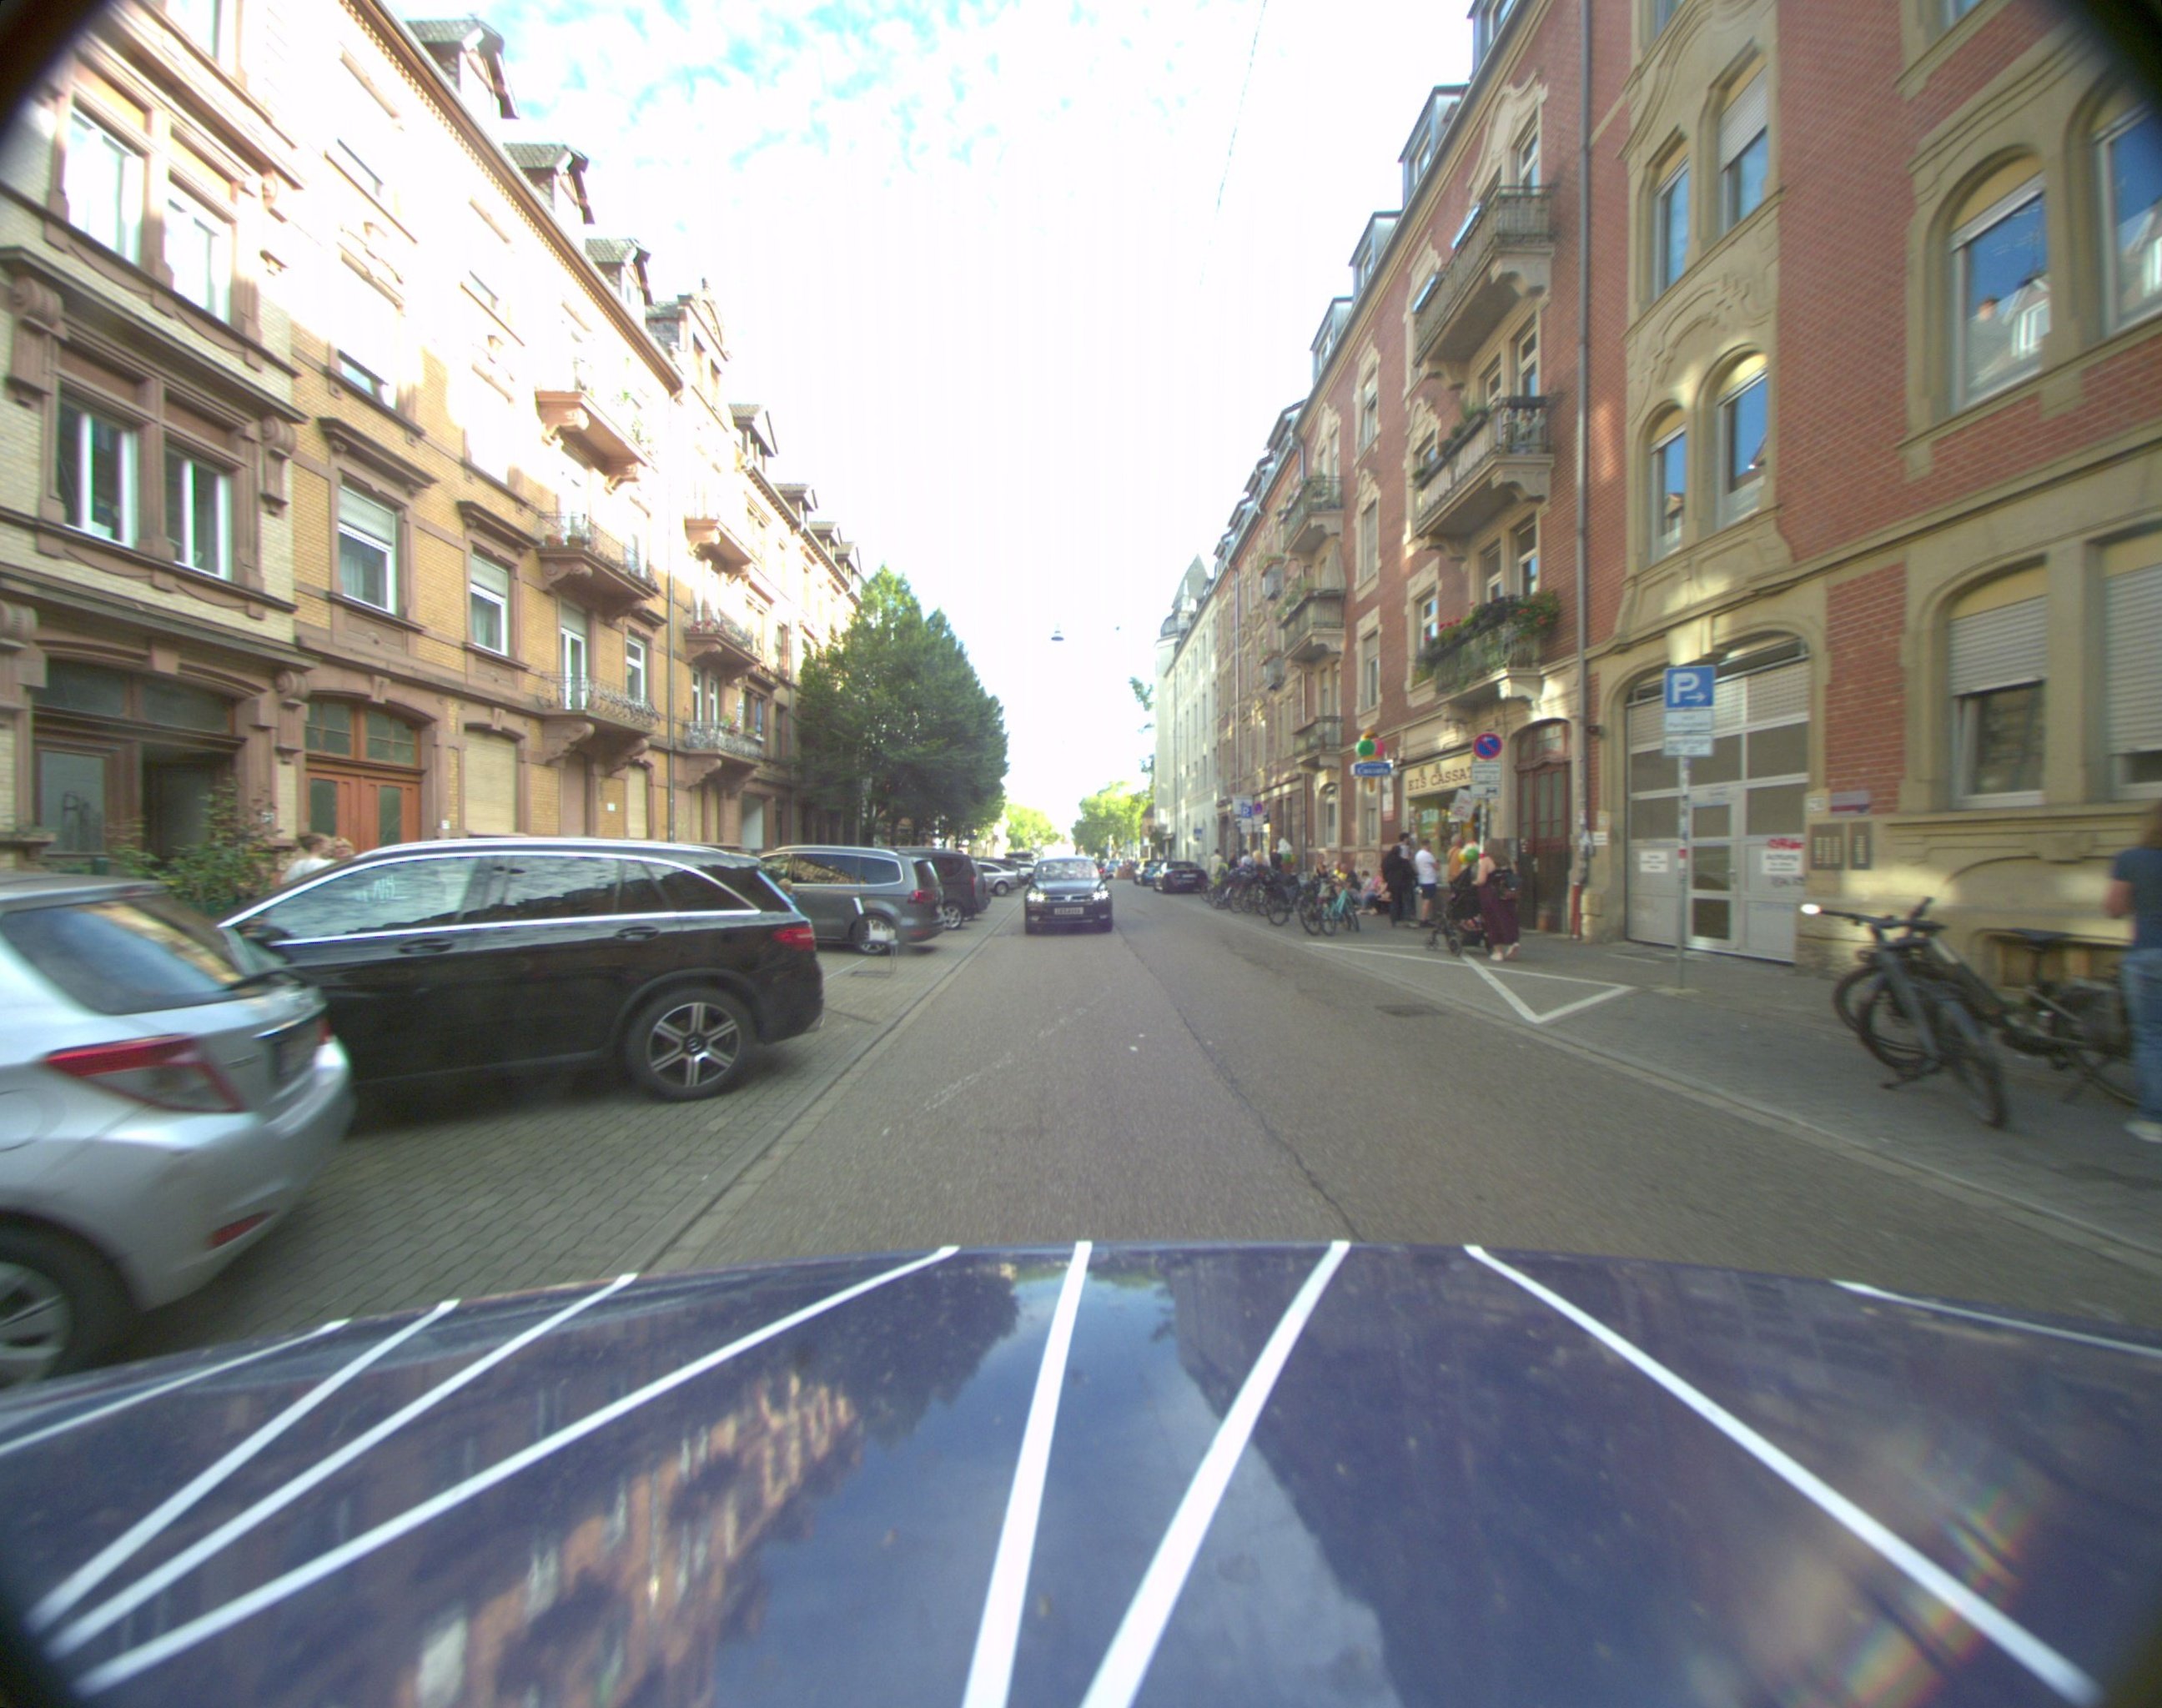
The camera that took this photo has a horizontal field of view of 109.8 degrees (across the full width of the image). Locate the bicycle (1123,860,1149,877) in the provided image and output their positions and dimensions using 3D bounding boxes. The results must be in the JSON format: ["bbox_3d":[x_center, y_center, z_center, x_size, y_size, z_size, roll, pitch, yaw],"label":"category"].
[{"bbox_3d":[4.018,1.050,55.626,1.873,1.168,0.688,-2,0,1],"label":"bicycle"}]

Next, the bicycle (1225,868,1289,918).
[{"bbox_3d":[4.564,0.985,19.648,1.794,1.193,0.589,-2,0,-37],"label":"bicycle"}]

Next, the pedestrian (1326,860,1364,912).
[{"bbox_3d":[6.803,0.809,19.581,0.725,1.306,0.606,-1,1,-5],"label":"pedestrian"}]

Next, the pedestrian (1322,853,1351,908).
[{"bbox_3d":[6.953,0.719,20.705,0.605,1.461,0.726,-1,1,9],"label":"pedestrian"}]

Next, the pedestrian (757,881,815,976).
[{"bbox_3d":[-4.112,1.019,10.603,0.470,1.244,0.510,4,1,28],"label":"pedestrian"}]

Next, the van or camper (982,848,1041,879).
[{"bbox_3d":[-5.288,0.701,57.867,4.006,2.166,1.995,-2,0,-31],"label":"van or camper"}]

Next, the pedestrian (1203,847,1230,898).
[{"bbox_3d":[4.982,0.672,27.885,0.761,1.808,0.667,-1,1,29],"label":"pedestrian"}]

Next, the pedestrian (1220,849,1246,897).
[{"bbox_3d":[5.660,0.717,28.281,0.761,1.749,0.667,-1,1,29],"label":"pedestrian"}]

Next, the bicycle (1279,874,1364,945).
[{"bbox_3d":[4.551,0.989,14.248,0.806,1.152,2.274,-1,0,36],"label":"bicycle"}]

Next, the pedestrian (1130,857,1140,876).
[{"bbox_3d":[4.031,0.920,56.753,0.689,1.365,0.739,-2,0,3],"label":"pedestrian"}]

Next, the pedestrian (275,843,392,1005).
[{"bbox_3d":[-7.984,0.722,8.141,0.574,1.649,0.632,-2,0,-1],"label":"pedestrian"}]

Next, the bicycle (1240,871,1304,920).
[{"bbox_3d":[4.809,1.012,19.065,1.741,1.114,0.554,-2,0,-37],"label":"bicycle"}]

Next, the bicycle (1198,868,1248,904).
[{"bbox_3d":[4.623,1.040,24.752,1.577,1.110,0.375,-1,1,38],"label":"bicycle"}]

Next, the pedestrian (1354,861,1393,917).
[{"bbox_3d":[7.074,0.845,18.389,0.719,1.306,0.439,-1,1,-5],"label":"pedestrian"}]

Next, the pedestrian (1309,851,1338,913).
[{"bbox_3d":[6.430,0.728,20.148,0.554,1.607,0.584,-2,0,-1],"label":"pedestrian"}]

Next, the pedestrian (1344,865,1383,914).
[{"bbox_3d":[7.032,0.871,18.909,0.710,1.189,0.586,-1,1,-5],"label":"pedestrian"}]

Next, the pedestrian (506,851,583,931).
[{"bbox_3d":[-10.315,0.693,14.639,0.930,1.488,0.812,1,0,-8],"label":"pedestrian"}]

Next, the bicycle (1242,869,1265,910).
[{"bbox_3d":[4.965,1.015,21.953,0.579,1.084,1.740,-2,0,12],"label":"bicycle"}]

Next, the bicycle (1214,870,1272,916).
[{"bbox_3d":[4.335,1.024,20.260,1.573,1.114,0.589,-2,0,-37],"label":"bicycle"}]

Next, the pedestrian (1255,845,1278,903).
[{"bbox_3d":[5.788,0.613,23.669,0.605,1.741,0.726,-1,1,9],"label":"pedestrian"}]

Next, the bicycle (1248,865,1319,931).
[{"bbox_3d":[4.393,0.918,16.452,1.680,1.314,0.526,-2,0,-37],"label":"bicycle"}]

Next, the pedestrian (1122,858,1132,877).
[{"bbox_3d":[3.473,1.020,57.321,0.739,1.341,0.644,-2,1,1],"label":"pedestrian"}]

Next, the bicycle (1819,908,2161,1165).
[{"bbox_3d":[5.573,0.960,4.628,0.494,1.089,1.905,-2,0,8],"label":"bicycle"}]

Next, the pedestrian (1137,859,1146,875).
[{"bbox_3d":[4.607,0.977,57.886,0.597,1.236,0.694,-1,0,6],"label":"pedestrian"}]

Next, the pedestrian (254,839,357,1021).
[{"bbox_3d":[-7.654,0.710,7.524,0.649,1.685,0.697,-2,1,-44],"label":"pedestrian"}]

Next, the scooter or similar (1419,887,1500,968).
[{"bbox_3d":[5.418,1.034,10.919,0.607,1.049,0.921,-2,0,-6],"label":"scooter or similar"}]

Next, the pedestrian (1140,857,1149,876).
[{"bbox_3d":[4.719,0.913,56.661,0.637,1.364,0.684,-2,1,3],"label":"pedestrian"}]

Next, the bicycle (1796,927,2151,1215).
[{"bbox_3d":[4.822,1.045,4.297,0.482,1.053,1.907,-2,1,23],"label":"bicycle"}]

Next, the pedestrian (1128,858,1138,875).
[{"bbox_3d":[3.998,0.956,58.128,0.668,1.328,0.740,-1,0,6],"label":"pedestrian"}]

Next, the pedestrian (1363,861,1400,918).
[{"bbox_3d":[7.110,0.825,17.978,0.703,1.306,0.373,-2,1,-5],"label":"pedestrian"}]

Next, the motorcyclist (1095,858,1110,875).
[{"bbox_3d":[1.618,0.971,57.448,1.016,1.238,0.802,-2,0,-7],"label":"motorcyclist"}]

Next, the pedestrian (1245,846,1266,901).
[{"bbox_3d":[5.614,0.615,24.459,0.605,1.741,0.946,-1,0,11],"label":"pedestrian"}]
